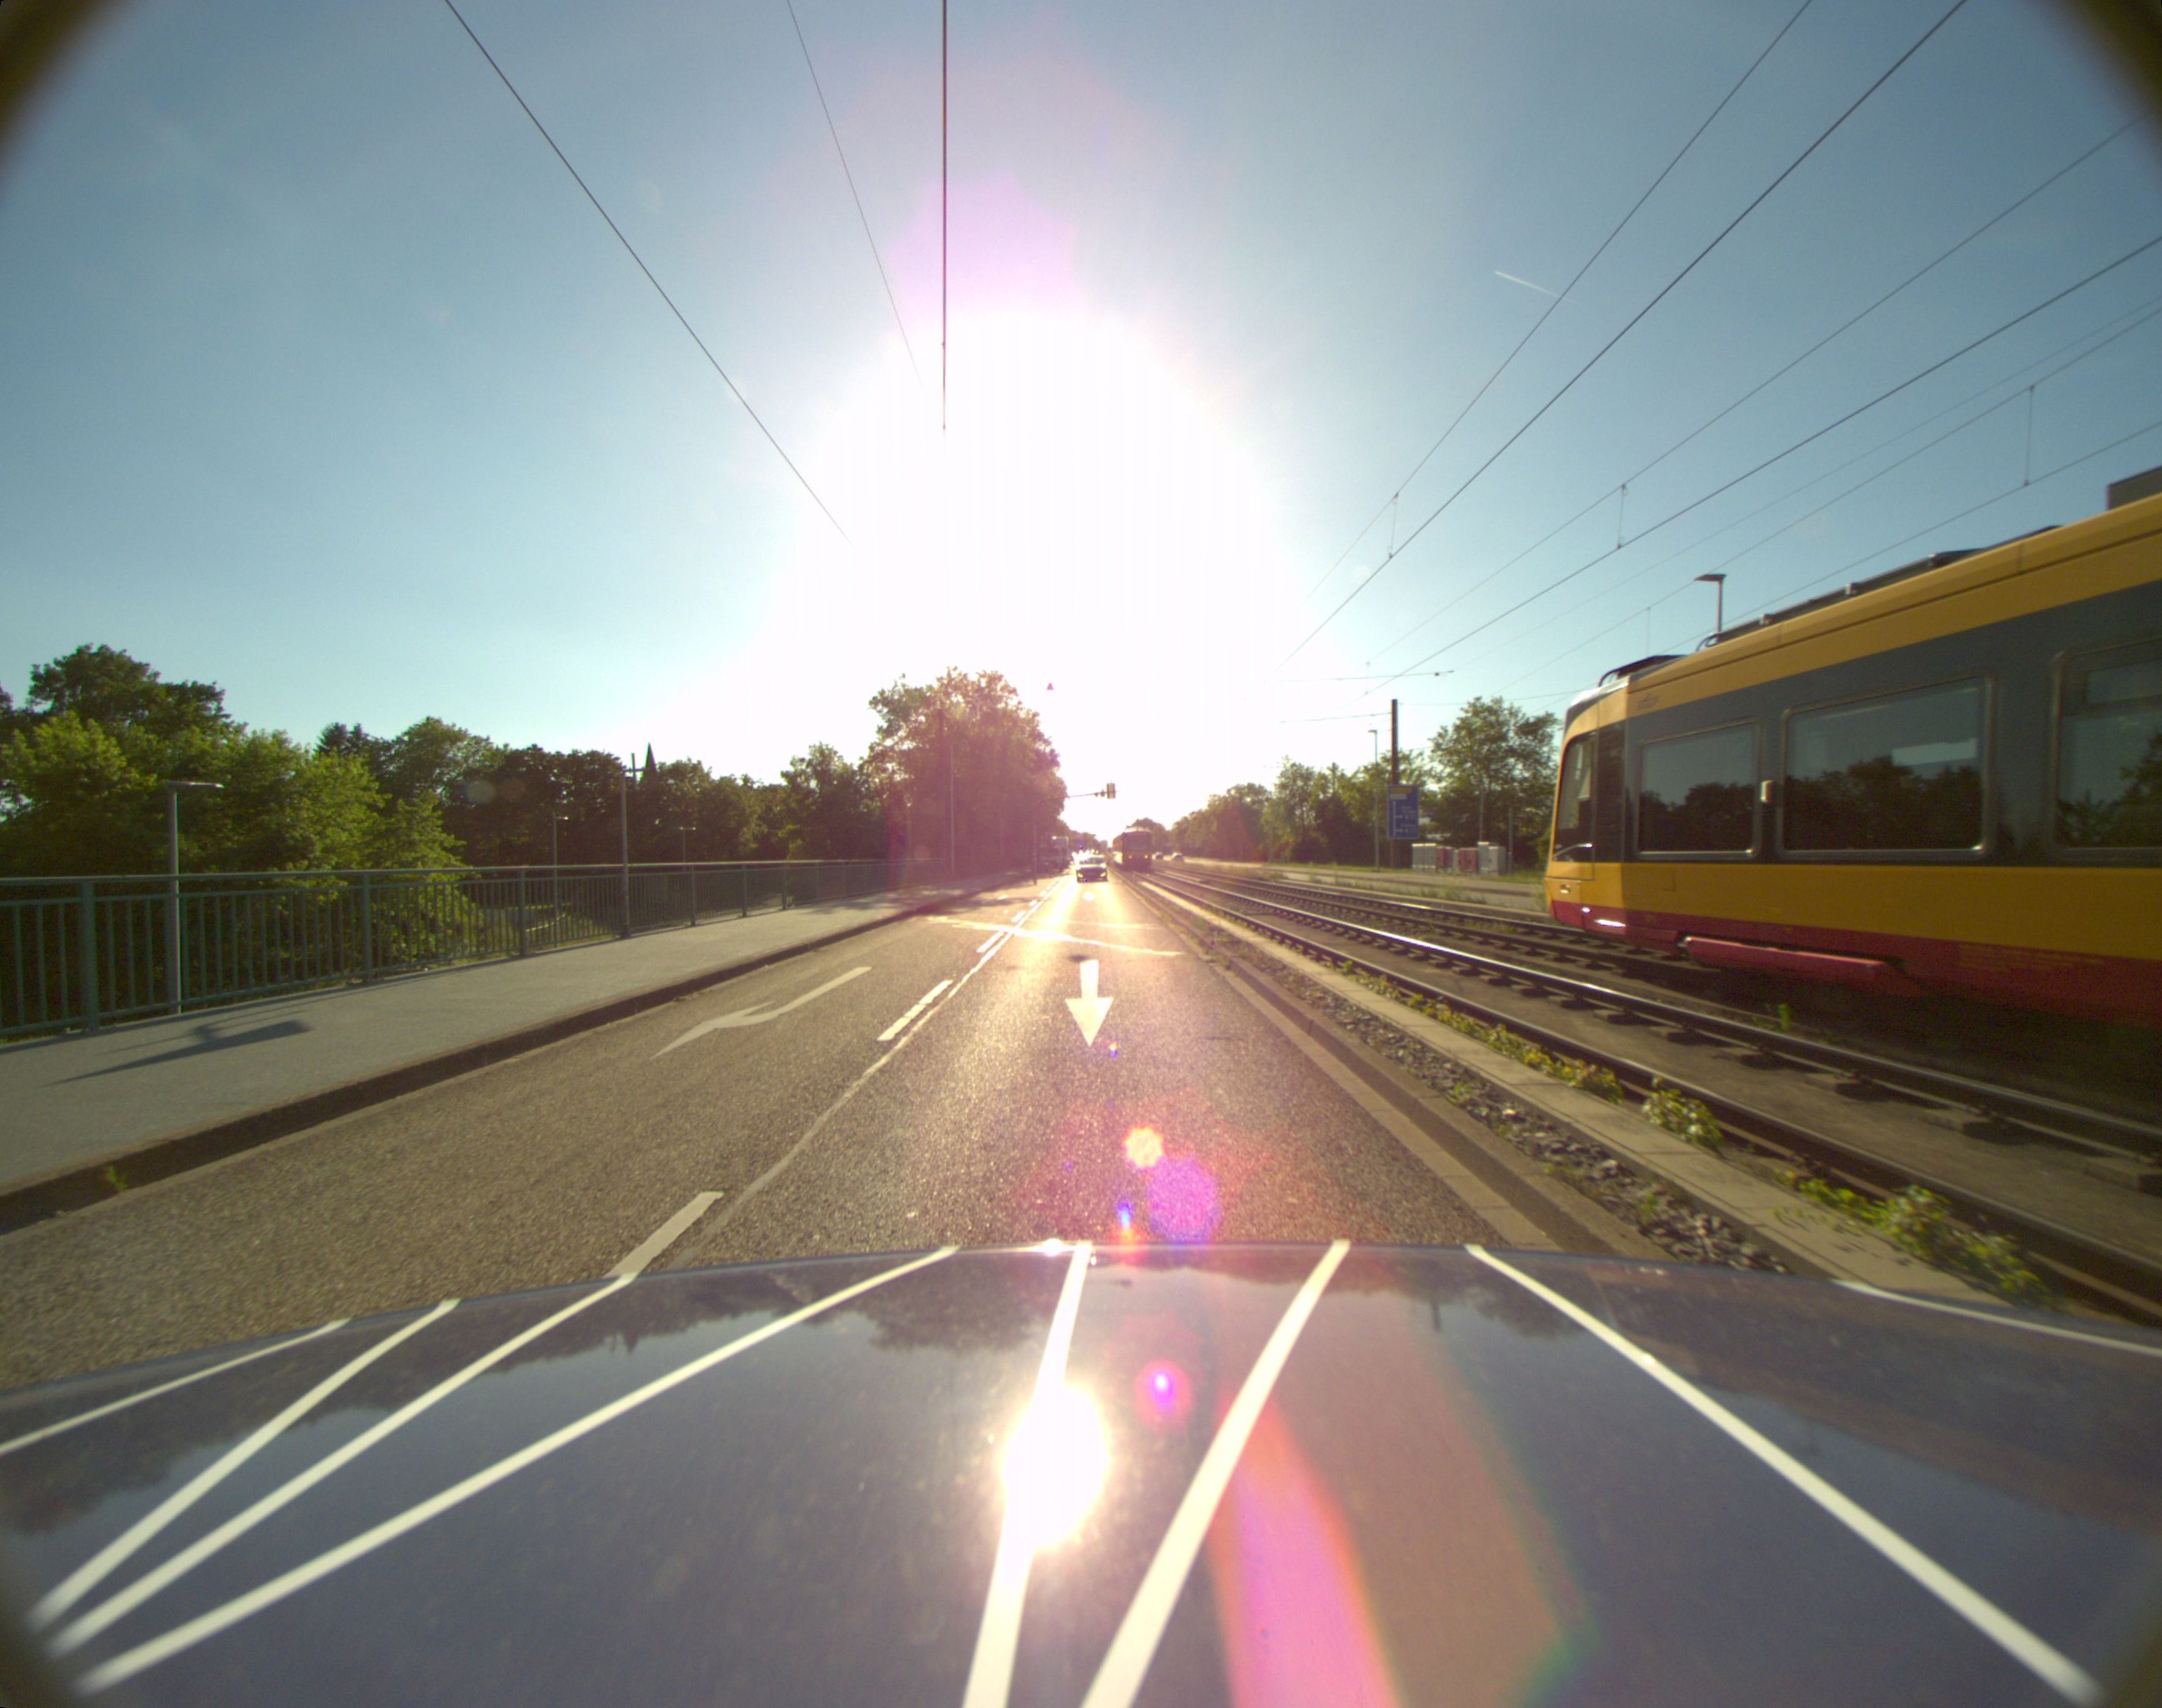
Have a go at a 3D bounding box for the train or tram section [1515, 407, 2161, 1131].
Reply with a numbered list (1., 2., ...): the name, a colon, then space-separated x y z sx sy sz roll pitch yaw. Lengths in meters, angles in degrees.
1. train or tram section: 7.298 -0.471 3.795 3.011 3.878 13.081 -1 0 1

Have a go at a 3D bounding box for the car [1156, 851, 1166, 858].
1. car: 17.358 0.171 164.518 1.801 1.345 4.000 -2 1 1

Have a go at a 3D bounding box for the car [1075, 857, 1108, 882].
1. car: 0.599 0.843 43.122 1.801 1.345 4.000 0 0 0

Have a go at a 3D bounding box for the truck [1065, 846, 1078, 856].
1. truck: -1.762 -0.550 142.096 2.097 1.961 6.027 0 0 2

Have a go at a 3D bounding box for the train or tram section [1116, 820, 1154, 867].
1. train or tram section: 4.744 -0.869 68.832 2.569 3.878 11.671 -1 0 0

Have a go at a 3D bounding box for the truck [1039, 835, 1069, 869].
1. truck: -2.654 -0.173 76.678 2.610 3.185 7.870 -1 0 1

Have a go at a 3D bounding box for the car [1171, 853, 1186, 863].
1. car: 15.167 0.640 118.413 1.801 1.345 4.000 -2 1 1

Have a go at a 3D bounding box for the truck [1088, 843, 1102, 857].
1. truck: 3.423 -1.078 191.236 3.313 3.283 15.322 -1 0 1

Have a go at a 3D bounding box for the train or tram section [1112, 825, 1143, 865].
1. train or tram section: 4.782 -0.904 80.503 2.569 3.878 11.671 -1 0 0

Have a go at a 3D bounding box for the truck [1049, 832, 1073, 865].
1. truck: -2.356 -0.610 93.288 2.559 3.826 7.870 -1 0 1
